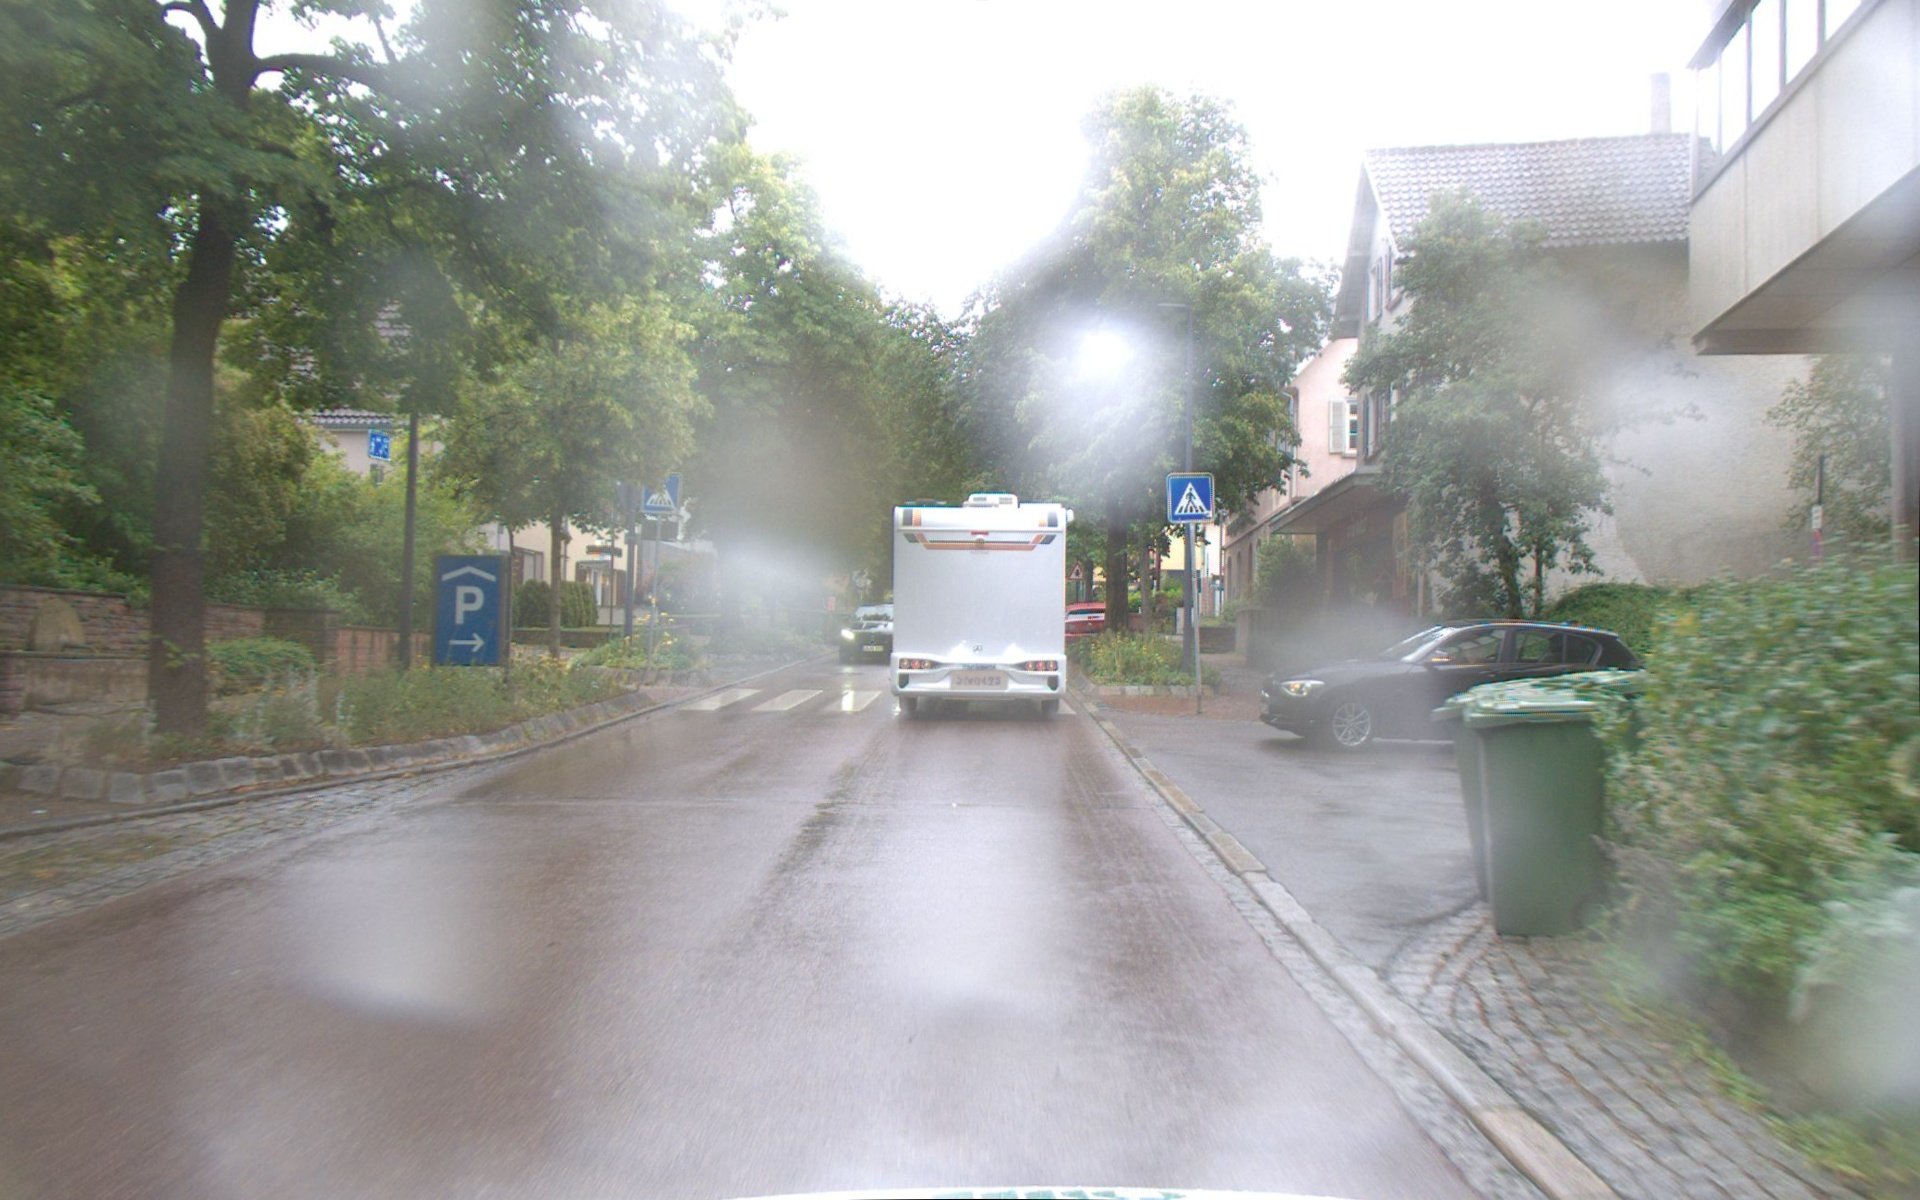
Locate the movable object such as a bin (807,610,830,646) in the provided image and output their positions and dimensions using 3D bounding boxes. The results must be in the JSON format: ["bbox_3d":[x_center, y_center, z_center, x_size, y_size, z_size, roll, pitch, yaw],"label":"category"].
[{"bbox_3d":[-4.486,0.901,52.438,0.656,1.124,0.817,1,-2,0],"label":"movable object such as a bin"}]

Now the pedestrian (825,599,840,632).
[{"bbox_3d":[-7.426,0.910,96.056,0.800,1.876,0.770,0,-2,0],"label":"pedestrian"}]

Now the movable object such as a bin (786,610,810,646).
[{"bbox_3d":[-5.175,0.907,52.922,0.656,1.124,0.817,1,-2,0],"label":"movable object such as a bin"}]

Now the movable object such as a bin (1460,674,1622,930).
[{"bbox_3d":[2.741,0.929,7.858,0.688,1.144,0.572,-1,-2,17],"label":"movable object such as a bin"}]

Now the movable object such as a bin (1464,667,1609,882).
[{"bbox_3d":[3.212,0.942,9.200,0.689,1.130,0.571,-1,-2,26],"label":"movable object such as a bin"}]

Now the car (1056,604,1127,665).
[{"bbox_3d":[3.584,0.907,45.436,1.816,1.498,4.367,2,0,4],"label":"car"}]

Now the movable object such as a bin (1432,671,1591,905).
[{"bbox_3d":[2.843,0.939,8.513,0.690,1.127,0.570,-1,-2,28],"label":"movable object such as a bin"}]

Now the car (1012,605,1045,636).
[{"bbox_3d":[3.518,1.083,85.550,1.615,1.569,3.531,0,-1,1],"label":"car"}]

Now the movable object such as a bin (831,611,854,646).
[{"bbox_3d":[-3.717,0.905,52.406,0.656,1.114,0.817,1,-2,0],"label":"movable object such as a bin"}]

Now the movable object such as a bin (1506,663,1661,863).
[{"bbox_3d":[3.703,0.939,9.834,0.694,1.122,0.567,-2,-2,44],"label":"movable object such as a bin"}]

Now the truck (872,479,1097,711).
[{"bbox_3d":[0.335,0.012,23.298,2.748,2.846,6.106,0,-1,1],"label":"truck"}]

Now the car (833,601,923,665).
[{"bbox_3d":[-1.987,0.777,41.176,1.817,1.409,4.409,3,0,2],"label":"car"}]

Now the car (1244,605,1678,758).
[{"bbox_3d":[5.400,0.855,18.223,4.195,1.441,1.840,2,0,0],"label":"car"}]
